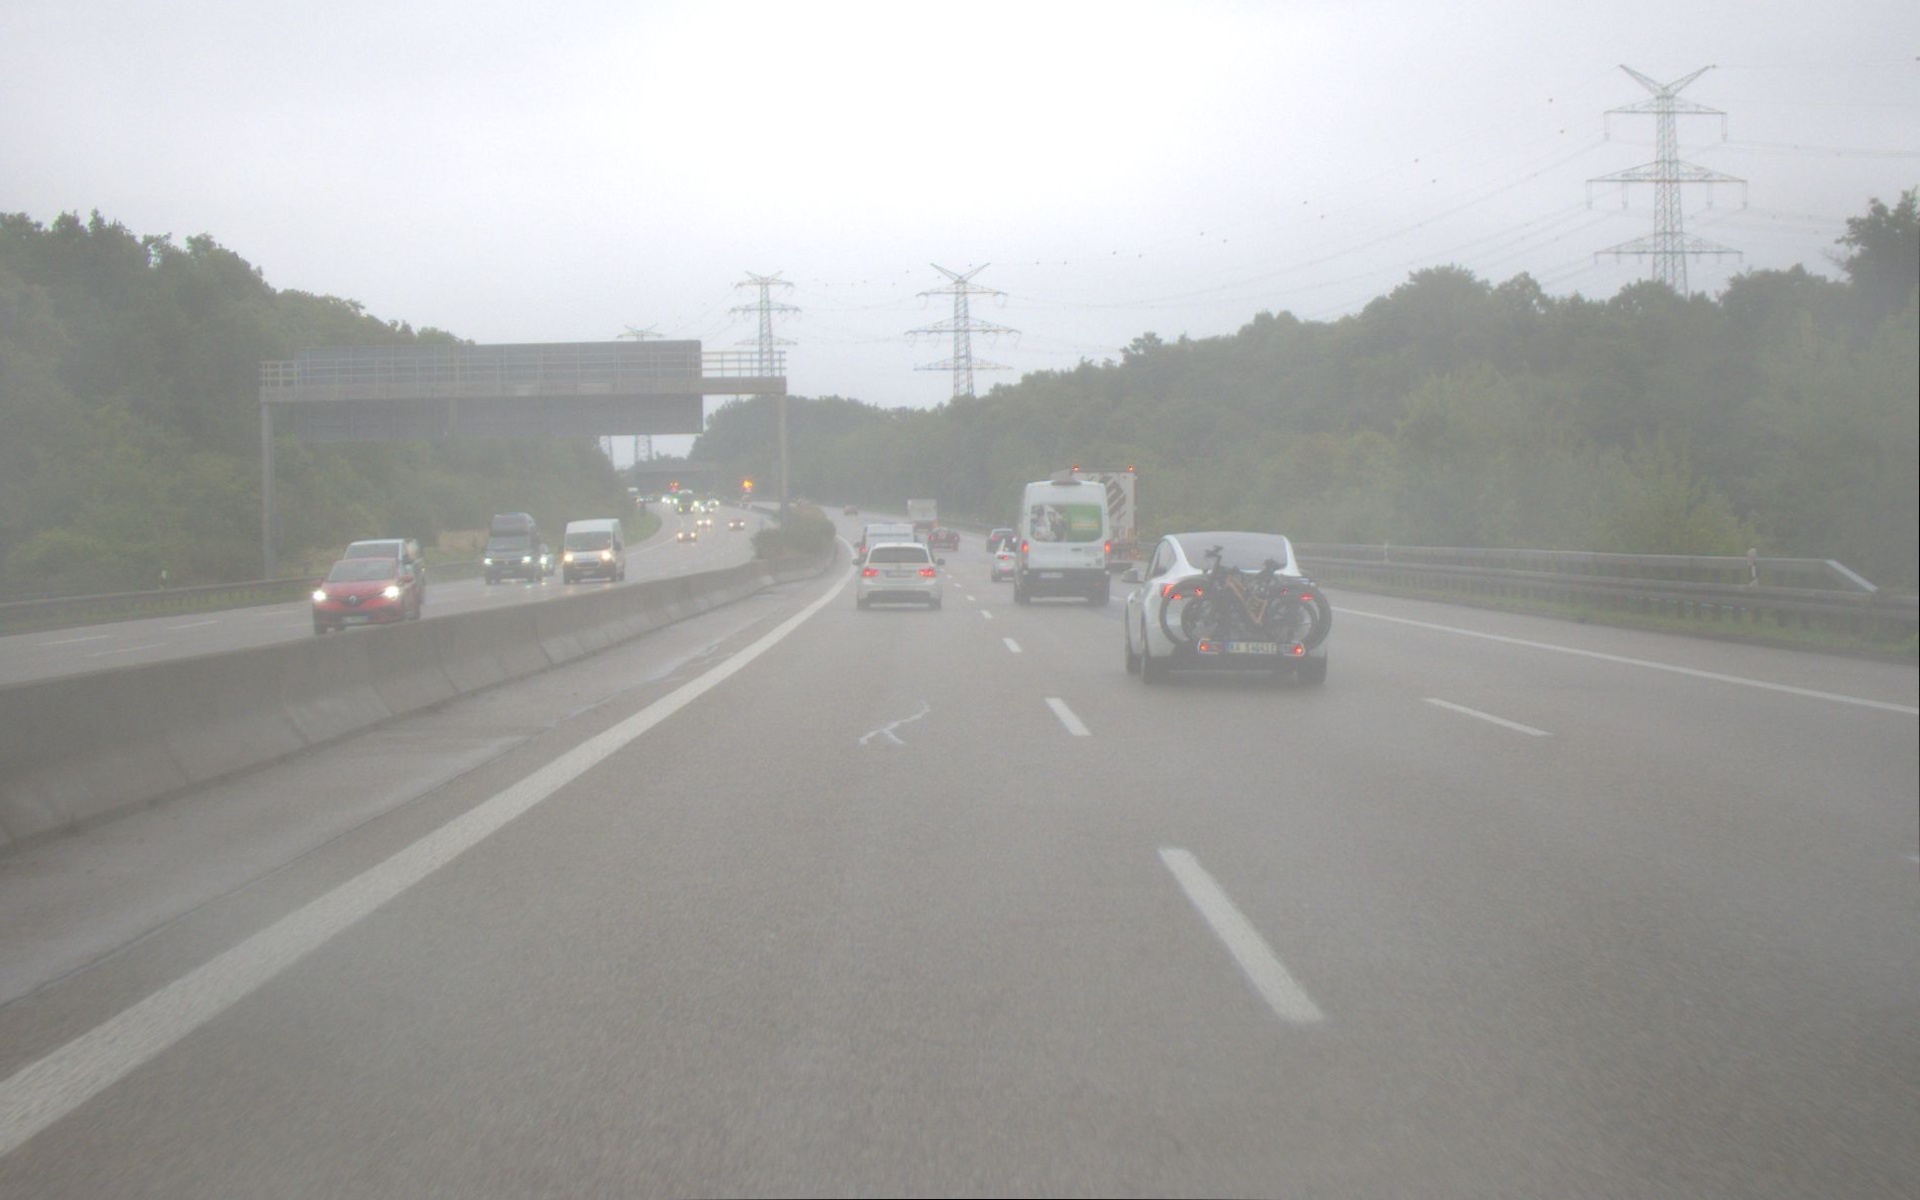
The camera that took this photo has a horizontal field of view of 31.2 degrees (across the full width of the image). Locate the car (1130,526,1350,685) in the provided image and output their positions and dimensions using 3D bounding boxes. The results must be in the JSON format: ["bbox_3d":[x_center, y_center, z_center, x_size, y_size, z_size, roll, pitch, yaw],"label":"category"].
[{"bbox_3d":[2.929,0.003,36.962,1.860,1.562,4.964,0,1,-1],"label":"car"}]

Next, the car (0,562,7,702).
[{"bbox_3d":[-12.523,0.450,39.111,1.993,1.682,4.917,-1,1,-1],"label":"car"}]

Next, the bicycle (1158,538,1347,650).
[{"bbox_3d":[2.874,-0.062,33.961,1.753,1.087,0.914,0,0,-2],"label":"bicycle"}]

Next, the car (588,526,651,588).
[{"bbox_3d":[-13.408,-1.724,135.569,2.276,2.323,6.176,-2,1,-4],"label":"car"}]

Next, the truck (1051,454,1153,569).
[{"bbox_3d":[5.607,-3.529,137.740,3.603,4.317,13.200,-1,1,1],"label":"truck"}]

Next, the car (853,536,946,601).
[{"bbox_3d":[-1.288,-0.685,72.338,1.866,1.284,4.000,-2,1,-1],"label":"car"}]

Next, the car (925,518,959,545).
[{"bbox_3d":[-1.138,-4.241,213.362,1.993,1.568,4.000,-2,1,-1],"label":"car"}]

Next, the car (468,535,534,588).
[{"bbox_3d":[-19.562,-1.674,146.646,1.993,2.160,6.417,-2,1,-1],"label":"car"}]

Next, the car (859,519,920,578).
[{"bbox_3d":[-2.204,-1.615,107.427,1.846,1.766,4.000,1,1,-1],"label":"car"}]

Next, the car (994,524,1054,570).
[{"bbox_3d":[2.063,-1.742,111.399,1.857,1.417,4.000,0,2,0],"label":"car"}]

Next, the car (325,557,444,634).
[{"bbox_3d":[-11.331,-0.118,67.906,1.634,1.407,4.367,-2,1,-1],"label":"car"}]

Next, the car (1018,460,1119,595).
[{"bbox_3d":[2.419,-1.634,77.415,1.993,2.854,4.000,-3,1,0],"label":"car"}]
